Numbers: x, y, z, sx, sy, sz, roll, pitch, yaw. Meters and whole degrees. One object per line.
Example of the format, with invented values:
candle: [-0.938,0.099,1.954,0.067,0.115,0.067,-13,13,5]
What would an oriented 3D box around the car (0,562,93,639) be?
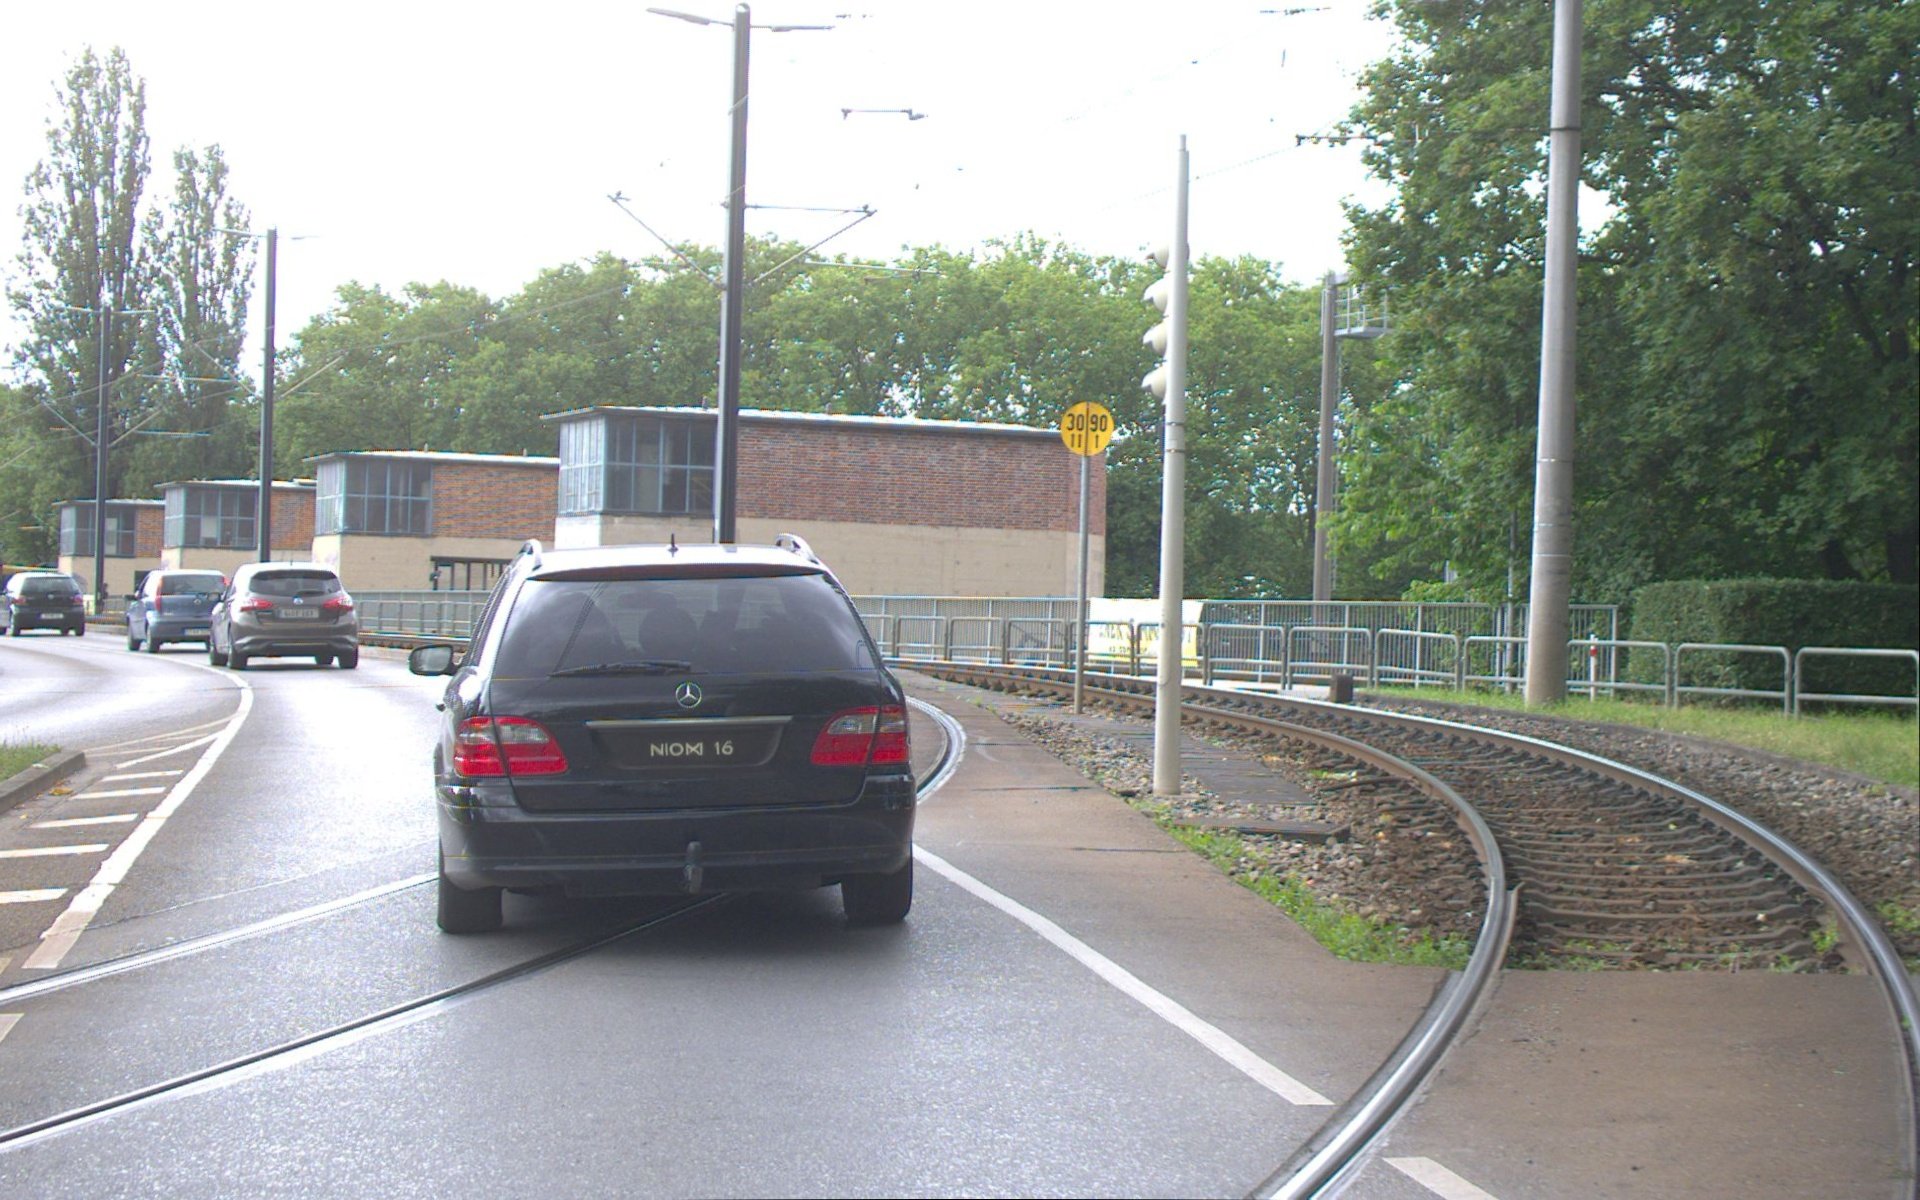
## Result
car: [-21.231,-0.017,79.333,1.993,1.667,4.542,-1,1,-19]

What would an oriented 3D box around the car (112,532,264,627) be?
car: [-13.988,-0.400,62.115,1.993,1.559,4.999,-2,2,-20]

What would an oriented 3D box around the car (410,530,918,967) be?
car: [-1.116,0.469,14.157,1.759,1.510,4.443,0,1,-2]

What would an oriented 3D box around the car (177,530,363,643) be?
car: [-9.999,-0.206,49.599,1.770,1.550,4.241,1,0,-23]
